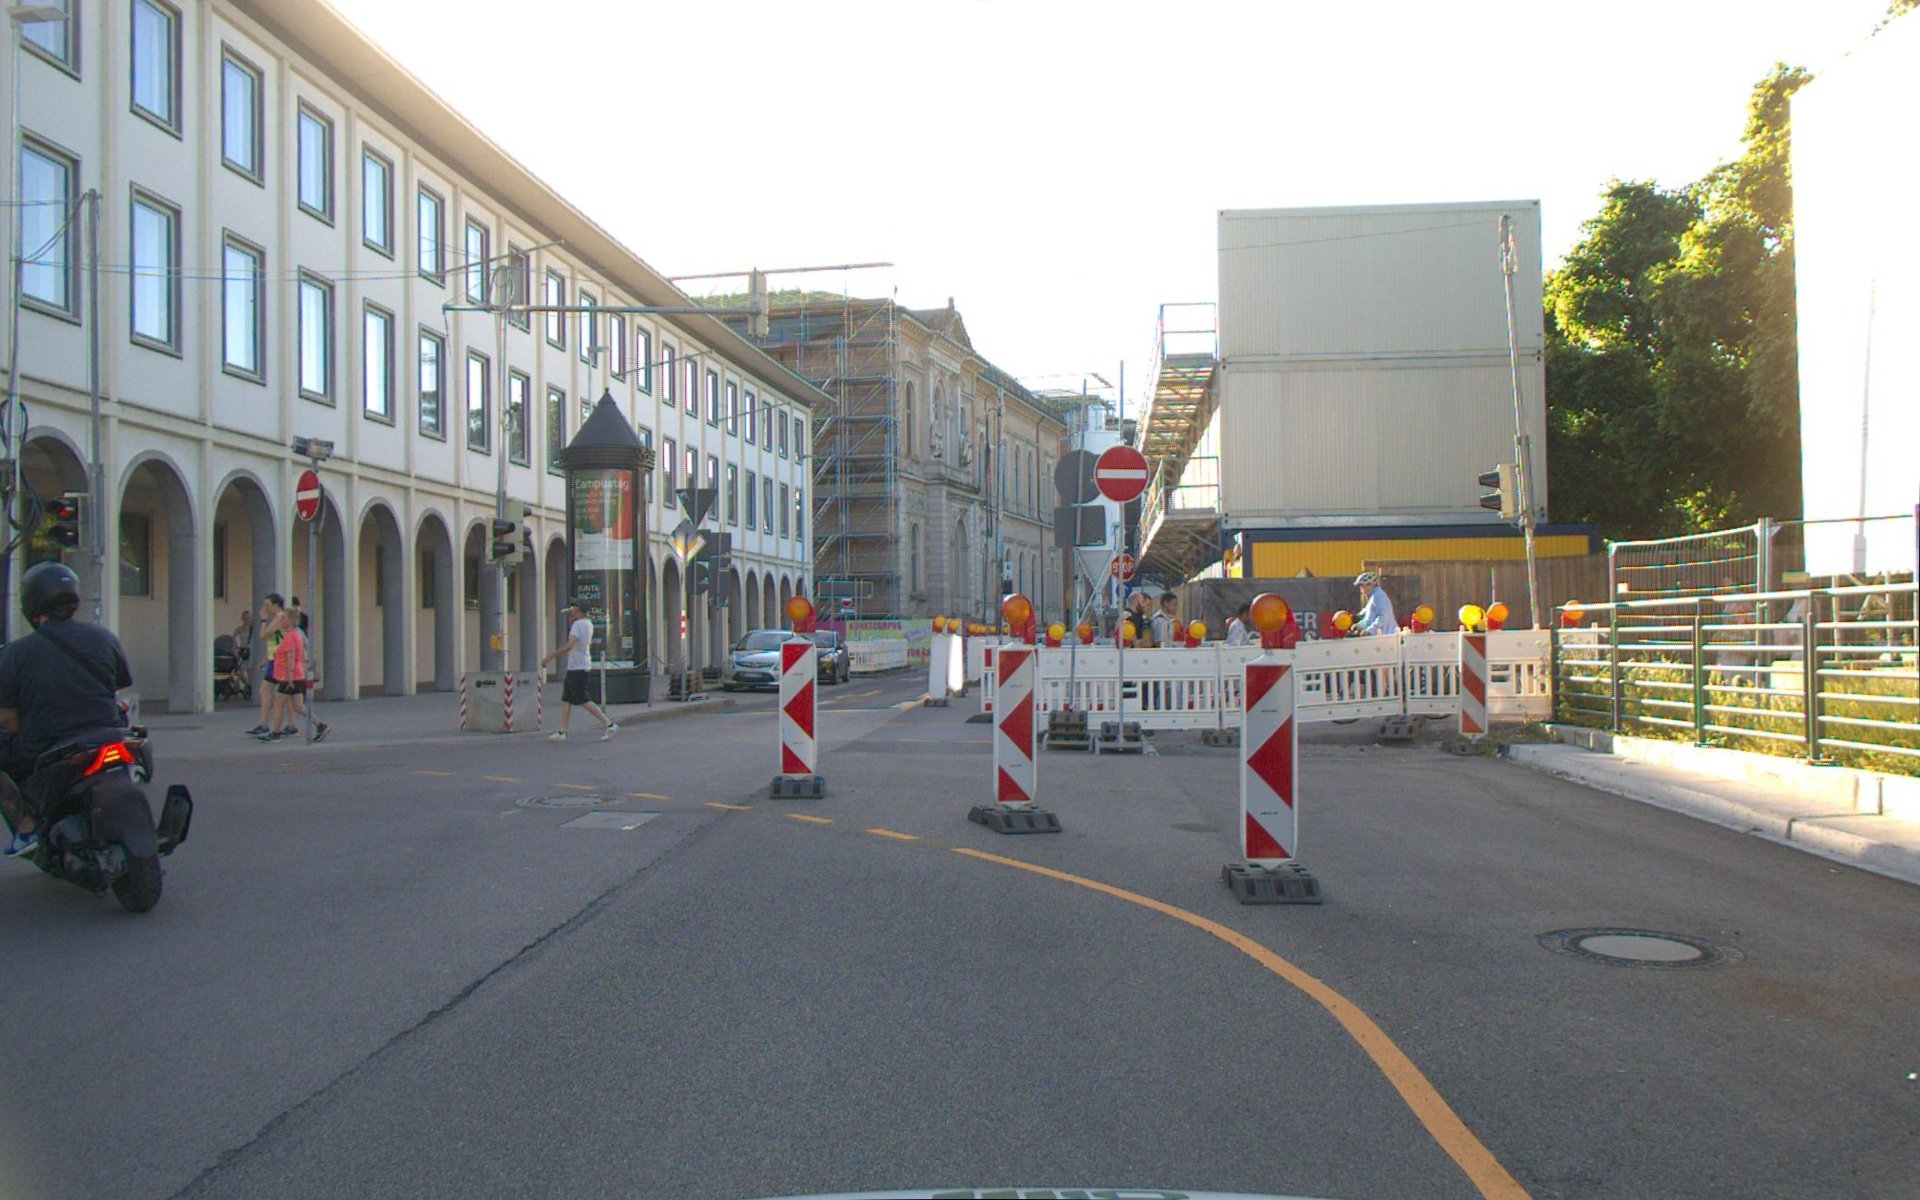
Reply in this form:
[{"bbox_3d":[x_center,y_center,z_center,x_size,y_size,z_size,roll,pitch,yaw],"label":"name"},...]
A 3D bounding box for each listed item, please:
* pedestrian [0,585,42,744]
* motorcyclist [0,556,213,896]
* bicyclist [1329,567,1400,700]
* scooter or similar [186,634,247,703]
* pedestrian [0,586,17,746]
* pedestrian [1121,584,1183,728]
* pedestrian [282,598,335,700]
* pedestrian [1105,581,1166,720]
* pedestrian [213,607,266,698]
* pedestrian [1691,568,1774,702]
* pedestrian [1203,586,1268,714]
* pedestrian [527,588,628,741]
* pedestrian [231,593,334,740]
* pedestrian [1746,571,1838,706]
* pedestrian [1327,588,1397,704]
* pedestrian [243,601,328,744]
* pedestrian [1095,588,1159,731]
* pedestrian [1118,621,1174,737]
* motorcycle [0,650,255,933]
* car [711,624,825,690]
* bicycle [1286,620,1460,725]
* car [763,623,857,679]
[{"bbox_3d":[-11.391,0.743,19.275,0.918,1.808,0.711,-1,2,2],"label":"pedestrian"},{"bbox_3d":[-4.579,0.590,8.494,1.217,1.587,0.951,-1,0,43],"label":"motorcyclist"},{"bbox_3d":[4.801,0.395,19.658,0.687,1.542,0.686,0,-1,4],"label":"bicyclist"},{"bbox_3d":[-13.467,1.230,29.983,0.605,1.178,0.959,0,2,5],"label":"scooter or similar"},{"bbox_3d":[-11.357,0.759,18.700,0.918,1.808,0.711,-1,2,2],"label":"pedestrian"},{"bbox_3d":[2.470,0.710,21.311,0.721,1.802,0.622,-2,-1,5],"label":"pedestrian"},{"bbox_3d":[-12.299,0.919,31.237,0.627,1.872,0.728,0,2,6],"label":"pedestrian"},{"bbox_3d":[2.338,0.667,22.041,0.721,1.802,0.724,-2,-1,6],"label":"pedestrian"},{"bbox_3d":[-13.415,0.971,30.822,0.605,1.652,0.728,0,2,6],"label":"pedestrian"},{"bbox_3d":[9.688,0.438,20.764,0.721,1.632,0.644,-2,-1,6],"label":"pedestrian"},{"bbox_3d":[3.652,0.654,21.975,0.752,1.647,0.666,-2,-1,6],"label":"pedestrian"},{"bbox_3d":[-4.580,0.770,19.830,0.954,1.759,0.798,-2,-2,2],"label":"pedestrian"},{"bbox_3d":[-8.266,0.798,20.213,0.945,1.739,0.676,0,2,2],"label":"pedestrian"},{"bbox_3d":[10.209,0.466,20.293,0.734,1.593,0.659,-2,-1,-29],"label":"pedestrian"},{"bbox_3d":[5.323,0.605,21.932,0.752,1.488,0.666,-2,-1,6],"label":"pedestrian"},{"bbox_3d":[-7.998,0.848,19.636,0.709,1.652,0.620,0,2,2],"label":"pedestrian"},{"bbox_3d":[2.094,0.741,20.745,0.721,1.746,0.622,-2,-1,5],"label":"pedestrian"},{"bbox_3d":[2.181,0.919,19.471,0.605,1.322,0.494,2,0,5],"label":"pedestrian"},{"bbox_3d":[-4.653,0.886,8.545,2.533,1.204,0.903,-1,0,43],"label":"motorcycle"},{"bbox_3d":[-4.639,1.412,40.546,1.883,1.492,4.002,1,-2,6],"label":"car"},{"bbox_3d":[4.888,0.852,19.648,1.950,1.222,0.477,0,-1,5],"label":"bicycle"},{"bbox_3d":[-4.209,1.476,47.019,1.883,1.492,4.002,1,-2,6],"label":"car"}]
